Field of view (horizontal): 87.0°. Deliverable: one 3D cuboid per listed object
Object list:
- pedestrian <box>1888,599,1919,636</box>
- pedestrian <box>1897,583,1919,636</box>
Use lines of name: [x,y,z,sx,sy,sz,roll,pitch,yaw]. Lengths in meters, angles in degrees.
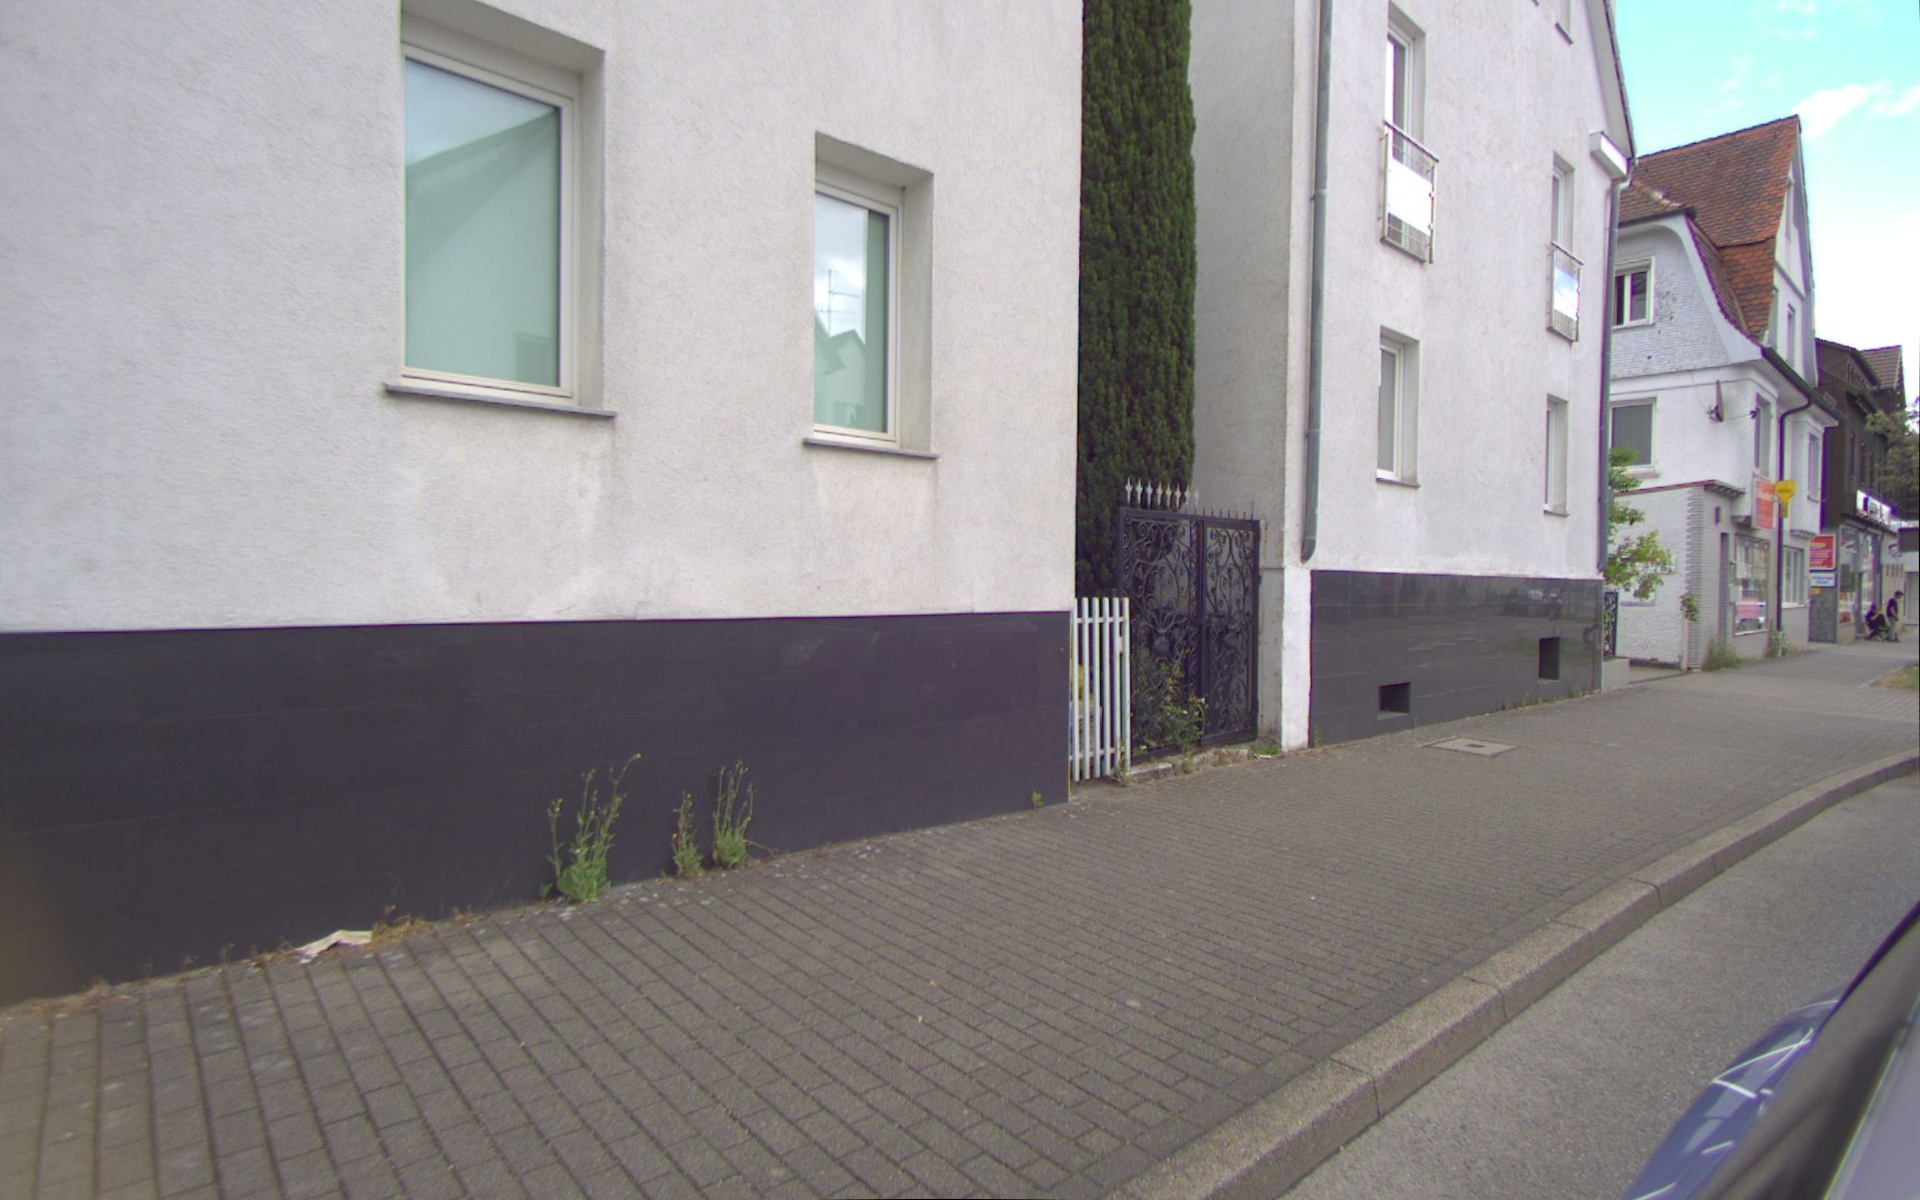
pedestrian: [32.734,0.607,35.085,0.633,1.226,0.741,0,2,-42]
pedestrian: [32.324,0.317,34.388,0.642,1.762,0.731,3,2,43]
